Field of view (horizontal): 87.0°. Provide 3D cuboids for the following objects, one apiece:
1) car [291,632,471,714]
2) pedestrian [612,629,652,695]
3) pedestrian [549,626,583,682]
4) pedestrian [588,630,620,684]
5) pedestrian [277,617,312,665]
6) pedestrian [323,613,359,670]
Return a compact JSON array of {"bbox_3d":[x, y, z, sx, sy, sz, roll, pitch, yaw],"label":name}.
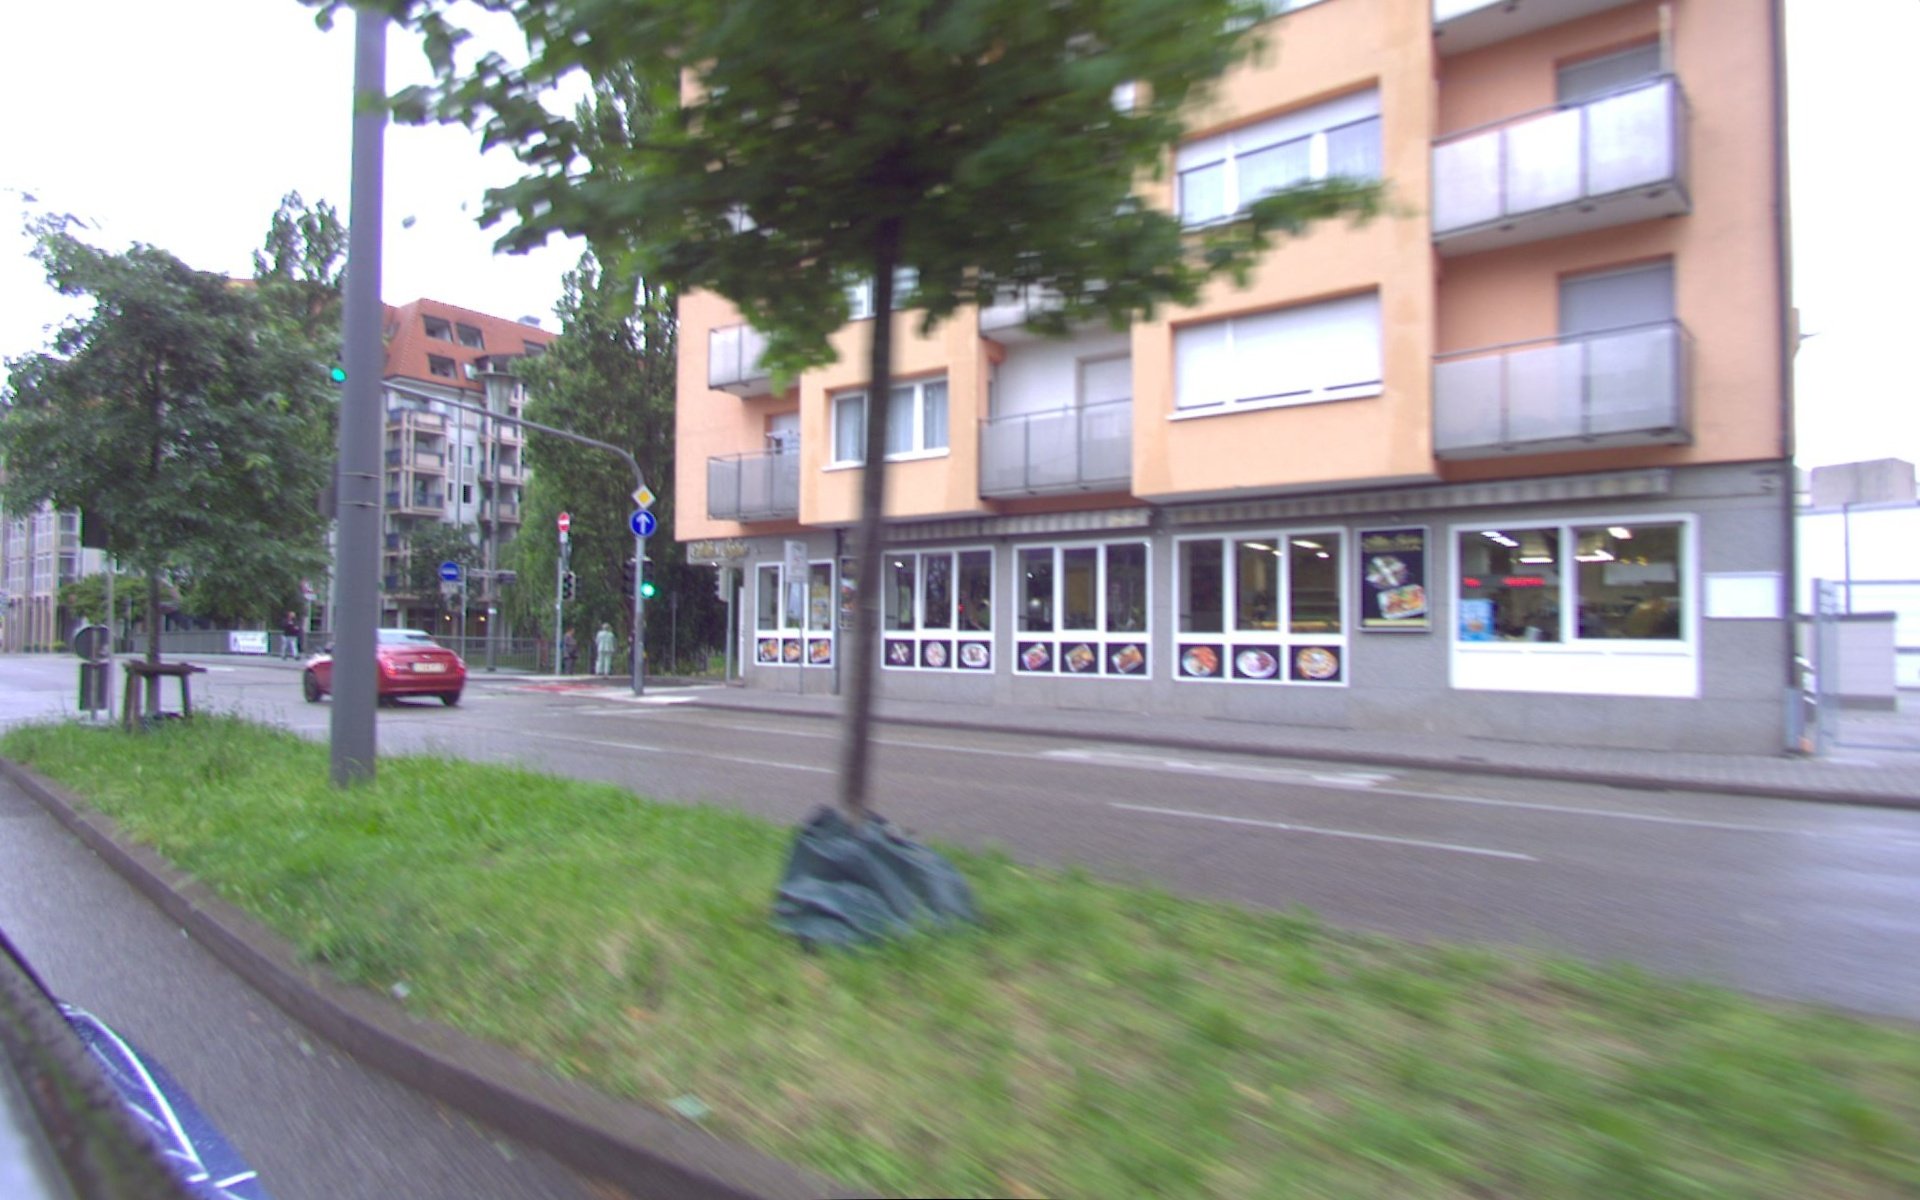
[{"bbox_3d":[-11.066,1.344,19.266,3.827,1.404,1.552,-1,-5,37],"label":"car"},{"bbox_3d":[-7.486,1.400,23.090,0.604,1.452,0.557,-2,0,18],"label":"pedestrian"},{"bbox_3d":[-12.152,1.657,31.215,0.675,1.704,0.745,0,-3,6],"label":"pedestrian"},{"bbox_3d":[-11.060,1.761,31.458,0.736,1.661,0.683,0,-3,1],"label":"pedestrian"},{"bbox_3d":[-24.118,1.496,36.666,0.798,1.708,0.758,-1,-3,35],"label":"pedestrian"},{"bbox_3d":[-21.037,1.422,34.395,0.798,1.901,0.738,-2,-3,35],"label":"pedestrian"}]
